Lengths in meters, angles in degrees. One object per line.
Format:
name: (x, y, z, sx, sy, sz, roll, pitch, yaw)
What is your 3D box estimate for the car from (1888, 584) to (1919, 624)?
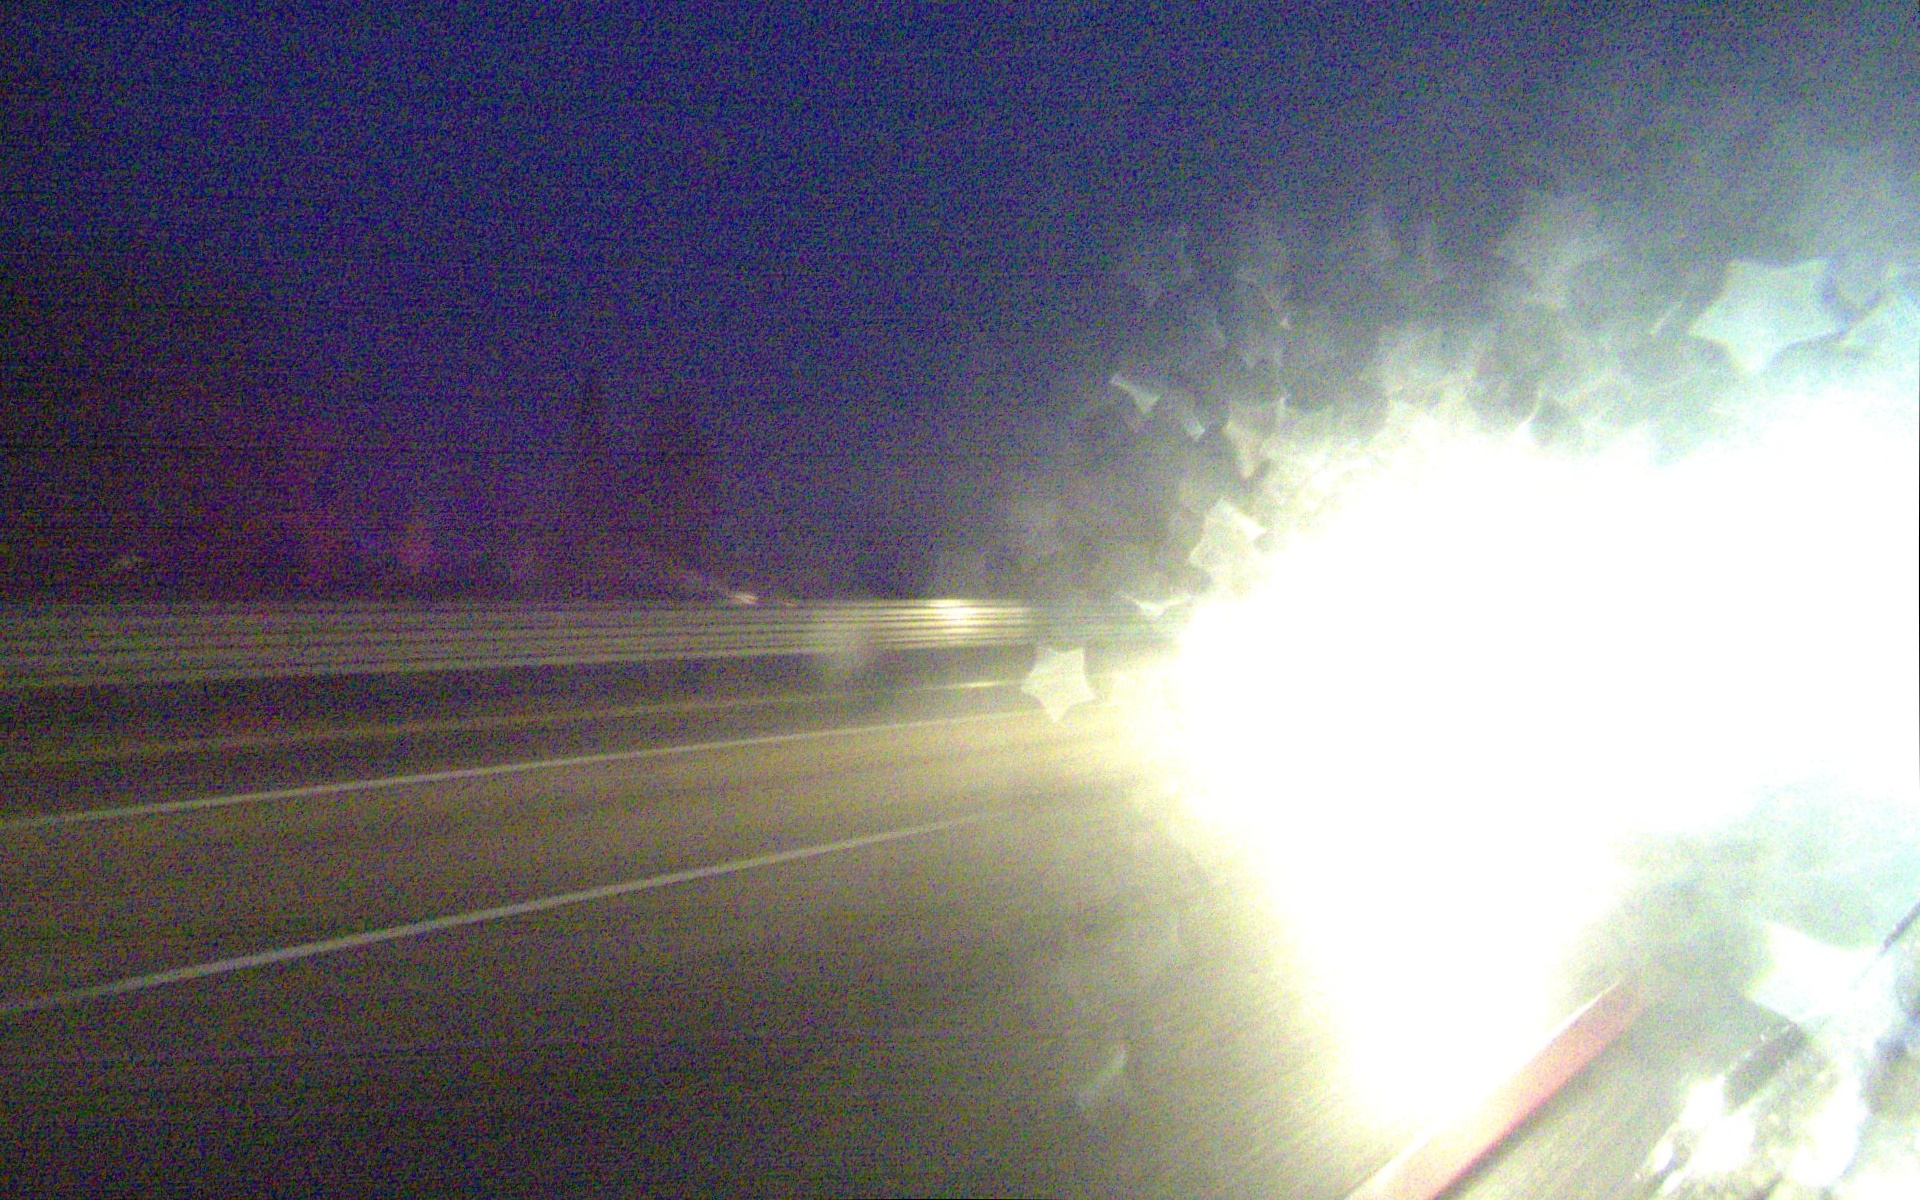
car: (46.396, 0.207, 48.859, 4.616, 1.870, 1.830, 1, -1, -41)

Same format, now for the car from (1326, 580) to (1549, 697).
car: (7.297, 0.499, 15.291, 3.944, 1.521, 1.642, 0, 1, -42)
